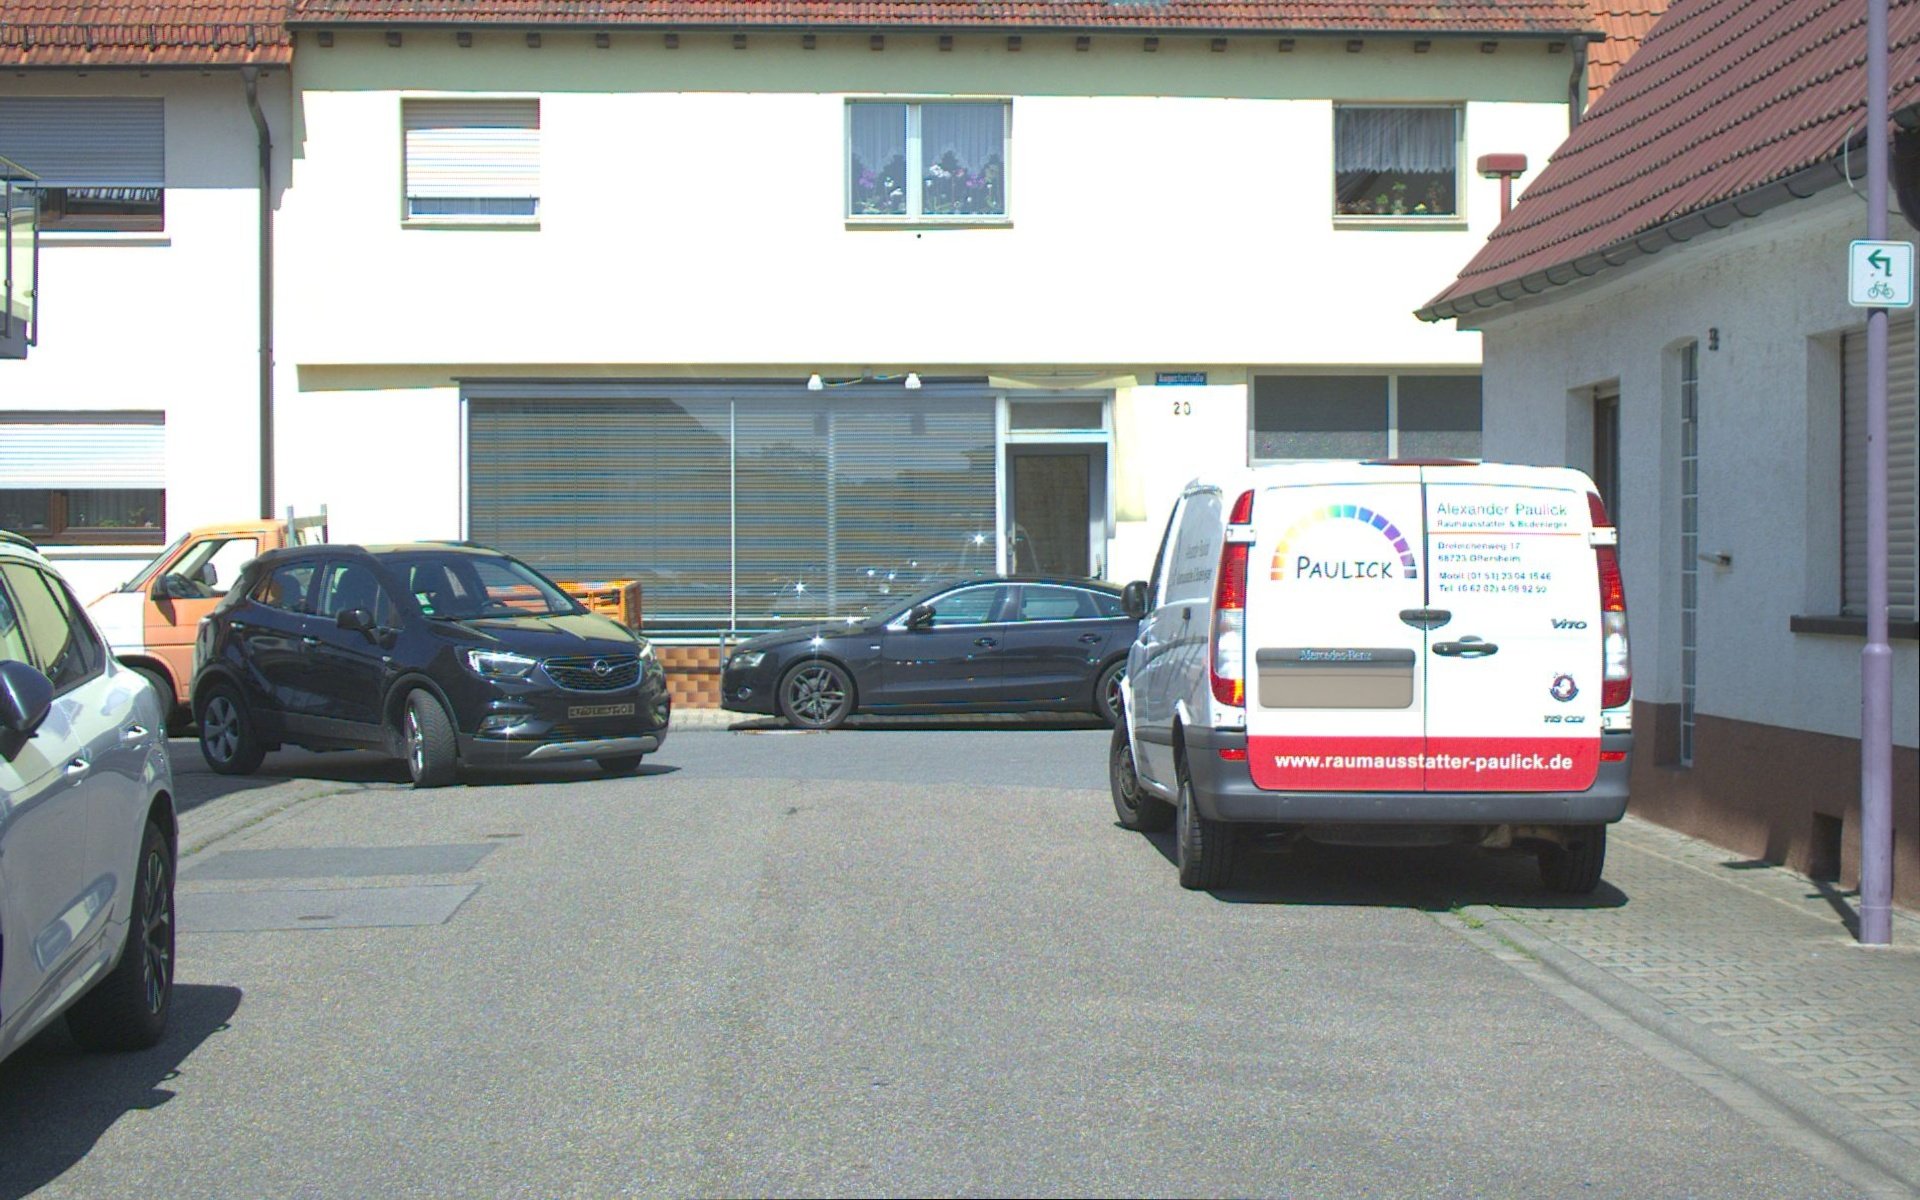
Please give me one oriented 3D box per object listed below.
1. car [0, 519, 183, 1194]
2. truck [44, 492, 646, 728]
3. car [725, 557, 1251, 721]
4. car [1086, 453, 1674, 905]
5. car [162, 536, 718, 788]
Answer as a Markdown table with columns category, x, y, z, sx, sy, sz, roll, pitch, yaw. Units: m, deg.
| category | x | y | z | sx | sy | sz | roll | pitch | yaw |
| --- | --- | --- | --- | --- | --- | --- | --- | --- | --- |
| car | -3.242 | 0.617 | 8.875 | 1.774 | 1.610 | 4.350 | -1 | 1 | -4 |
| truck | -5.433 | 0.083 | 30.956 | 5.063 | 2.007 | 2.190 | 0 | 0 | -2 |
| car | 0.203 | 0.378 | 31.127 | 4.616 | 1.390 | 1.928 | 0 | -2 | -3 |
| car | 1.835 | 0.296 | 16.848 | 2.012 | 1.832 | 5.266 | 1 | 1 | -2 |
| car | -3.719 | 0.379 | 24.073 | 1.757 | 1.577 | 4.278 | -2 | 2 | -42 |
